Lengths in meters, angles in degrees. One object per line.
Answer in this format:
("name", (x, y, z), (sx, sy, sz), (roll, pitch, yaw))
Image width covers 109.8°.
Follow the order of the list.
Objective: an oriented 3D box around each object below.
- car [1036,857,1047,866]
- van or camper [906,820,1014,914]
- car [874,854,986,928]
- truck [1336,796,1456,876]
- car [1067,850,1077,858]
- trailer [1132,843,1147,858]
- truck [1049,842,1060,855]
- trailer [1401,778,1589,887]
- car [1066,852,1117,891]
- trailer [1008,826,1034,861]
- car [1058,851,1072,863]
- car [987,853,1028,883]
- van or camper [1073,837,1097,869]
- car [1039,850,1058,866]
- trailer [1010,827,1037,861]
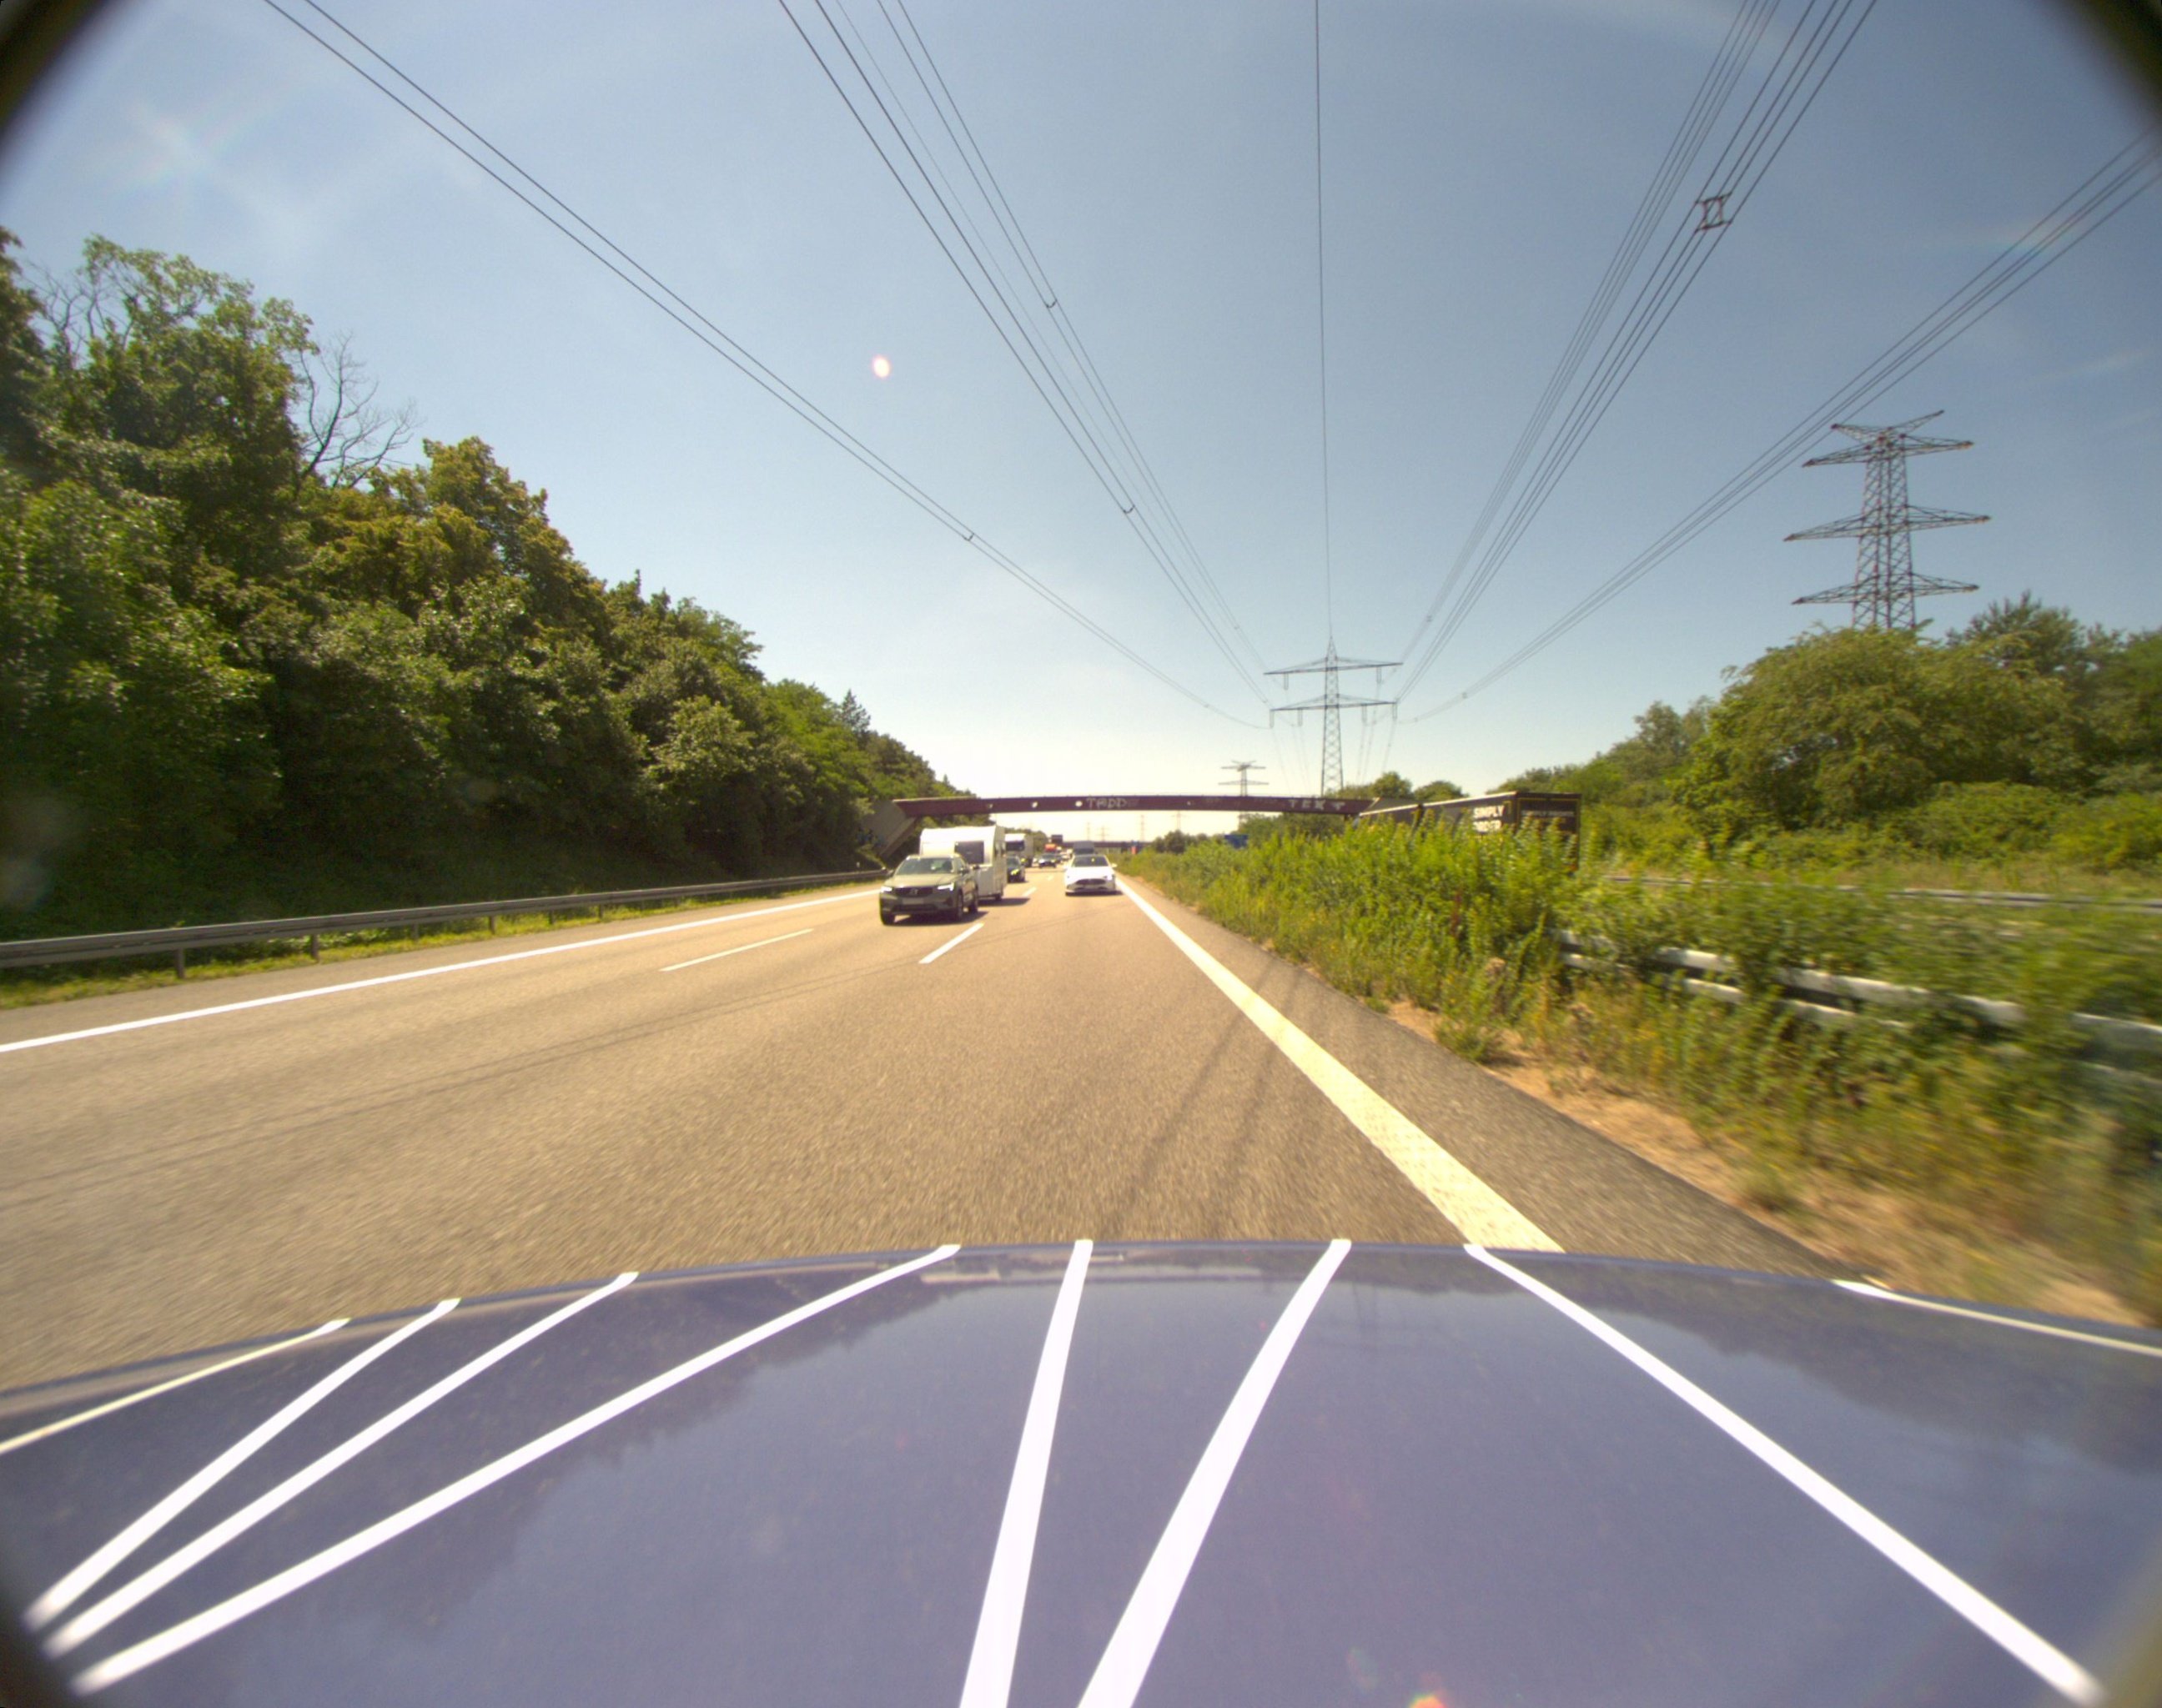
("car", (-6.840, 1.268, 131.567), (1.840, 1.403, 4.558), (-2, 0, -1))
("van or camper", (-3.750, 0.380, 24.946), (2.445, 2.659, 6.349), (-1, 0, 1))
("car", (-3.686, 0.840, 19.399), (1.884, 1.603, 4.701), (-2, 0, 0))
("truck", (17.851, -0.981, 44.036), (2.765, 4.098, 10.215), (0, 1, 1))
("car", (-1.806, 0.085, 151.269), (1.984, 1.525, 4.137), (-1, 0, -1))
("trailer", (18.484, -1.126, 240.678), (3.352, 4.381, 14.166), (8, 0, 1))
("truck", (-6.898, -1.304, 196.289), (2.582, 3.204, 5.712), (-3, 1, -2))
("trailer", (17.750, -0.868, 33.739), (2.773, 4.072, 10.297), (0, 1, 1))
("car", (0.363, 0.697, 31.997), (1.984, 1.525, 4.558), (0, 0, -1))
("trailer", (-7.215, -1.230, 91.931), (2.720, 4.078, 6.788), (-1, 0, -1))
("car", (-2.352, 0.376, 109.518), (1.984, 1.671, 4.557), (0, 0, -1))
("car", (-4.117, 0.758, 43.122), (1.846, 1.496, 4.737), (-5, 0, -2))
("van or camper", (0.381, -0.090, 67.523), (1.998, 2.740, 5.410), (-2, 0, 1))
("car", (-3.662, 0.419, 85.237), (1.984, 1.670, 4.558), (-1, 0, -1))
("trailer", (-7.385, -1.270, 99.161), (2.736, 4.078, 13.186), (-1, 0, -1))
